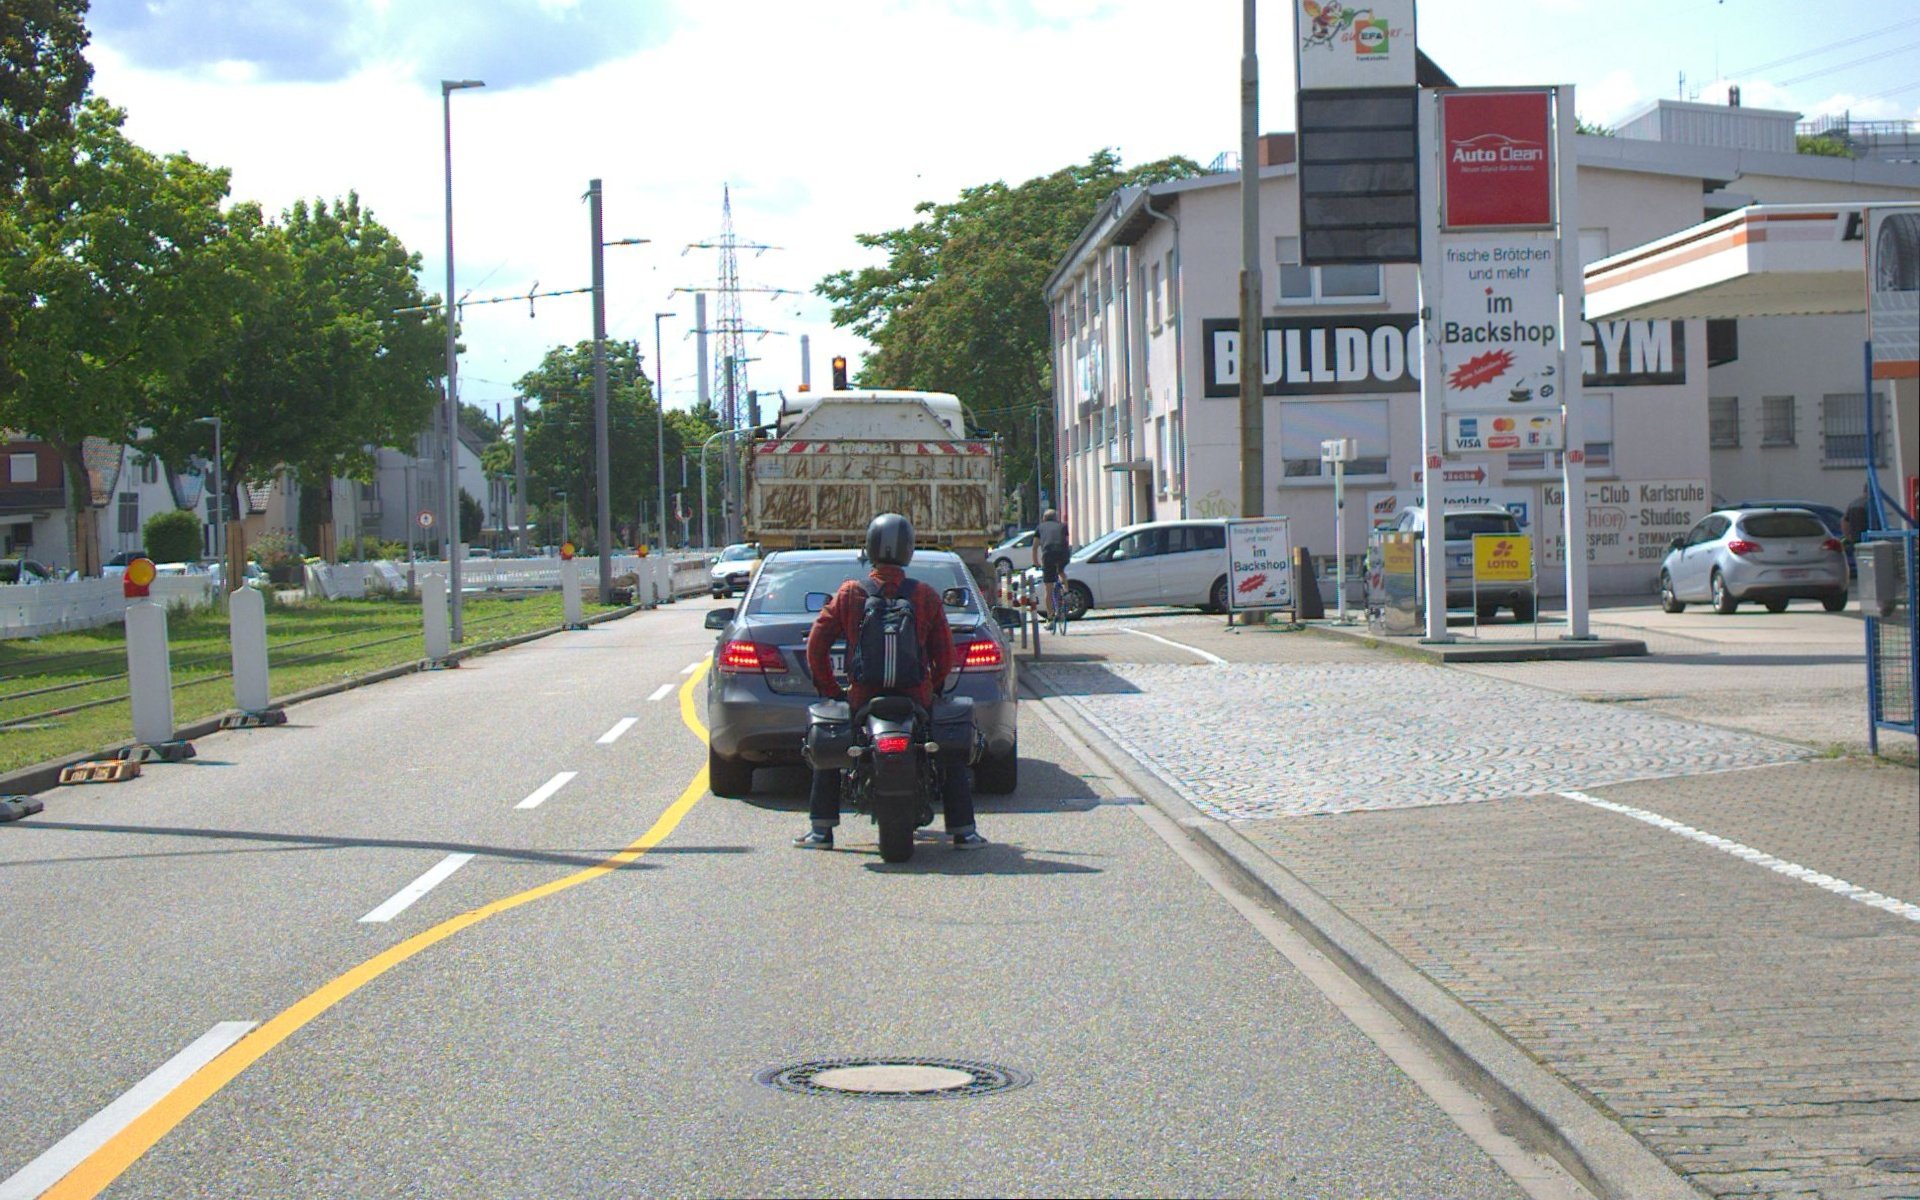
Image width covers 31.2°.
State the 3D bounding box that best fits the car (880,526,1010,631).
[{"bbox_3d":[-0.241,-0.341,50.548,1.821,1.459,4.000,-1,1,-1],"label":"car"}]

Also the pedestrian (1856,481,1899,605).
[{"bbox_3d":[12.639,-0.780,47.354,0.396,1.683,0.485,-2,0,0],"label":"pedestrian"}]

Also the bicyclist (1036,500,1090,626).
[{"bbox_3d":[1.451,-0.524,48.372,0.671,1.738,0.814,-1,1,-2],"label":"bicyclist"}]

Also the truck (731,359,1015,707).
[{"bbox_3d":[-0.897,-0.819,37.666,2.610,3.244,9.183,-2,2,-1],"label":"truck"}]

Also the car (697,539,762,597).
[{"bbox_3d":[-6.242,-0.887,93.432,1.654,1.442,4.304,-2,1,-3],"label":"car"}]

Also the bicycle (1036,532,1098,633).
[{"bbox_3d":[1.501,-0.264,48.559,0.692,1.357,2.419,-2,1,-2],"label":"bicycle"}]

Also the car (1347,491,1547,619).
[{"bbox_3d":[6.779,-0.621,48.250,1.959,1.643,4.000,-2,1,-3],"label":"car"}]

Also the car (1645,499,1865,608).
[{"bbox_3d":[11.275,-0.647,49.037,1.959,1.415,4.000,-2,1,-3],"label":"car"}]

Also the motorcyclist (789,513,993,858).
[{"bbox_3d":[-0.338,0.393,16.695,0.939,1.609,1.205,1,1,-1],"label":"motorcyclist"}]

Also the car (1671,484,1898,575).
[{"bbox_3d":[16.461,-1.395,68.762,3.986,1.643,1.966,-2,0,-2],"label":"car"}]

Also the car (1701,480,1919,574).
[{"bbox_3d":[16.527,-1.403,66.217,3.986,1.643,1.966,-2,0,-2],"label":"car"}]

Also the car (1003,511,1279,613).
[{"bbox_3d":[3.064,-0.652,58.709,4.329,1.546,1.950,-2,0,-9],"label":"car"}]

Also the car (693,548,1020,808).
[{"bbox_3d":[-0.626,0.408,21.332,1.821,1.419,4.000,-1,1,-1],"label":"car"}]

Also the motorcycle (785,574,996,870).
[{"bbox_3d":[-0.346,0.543,16.878,0.939,1.316,2.645,1,1,-1],"label":"motorcycle"}]
